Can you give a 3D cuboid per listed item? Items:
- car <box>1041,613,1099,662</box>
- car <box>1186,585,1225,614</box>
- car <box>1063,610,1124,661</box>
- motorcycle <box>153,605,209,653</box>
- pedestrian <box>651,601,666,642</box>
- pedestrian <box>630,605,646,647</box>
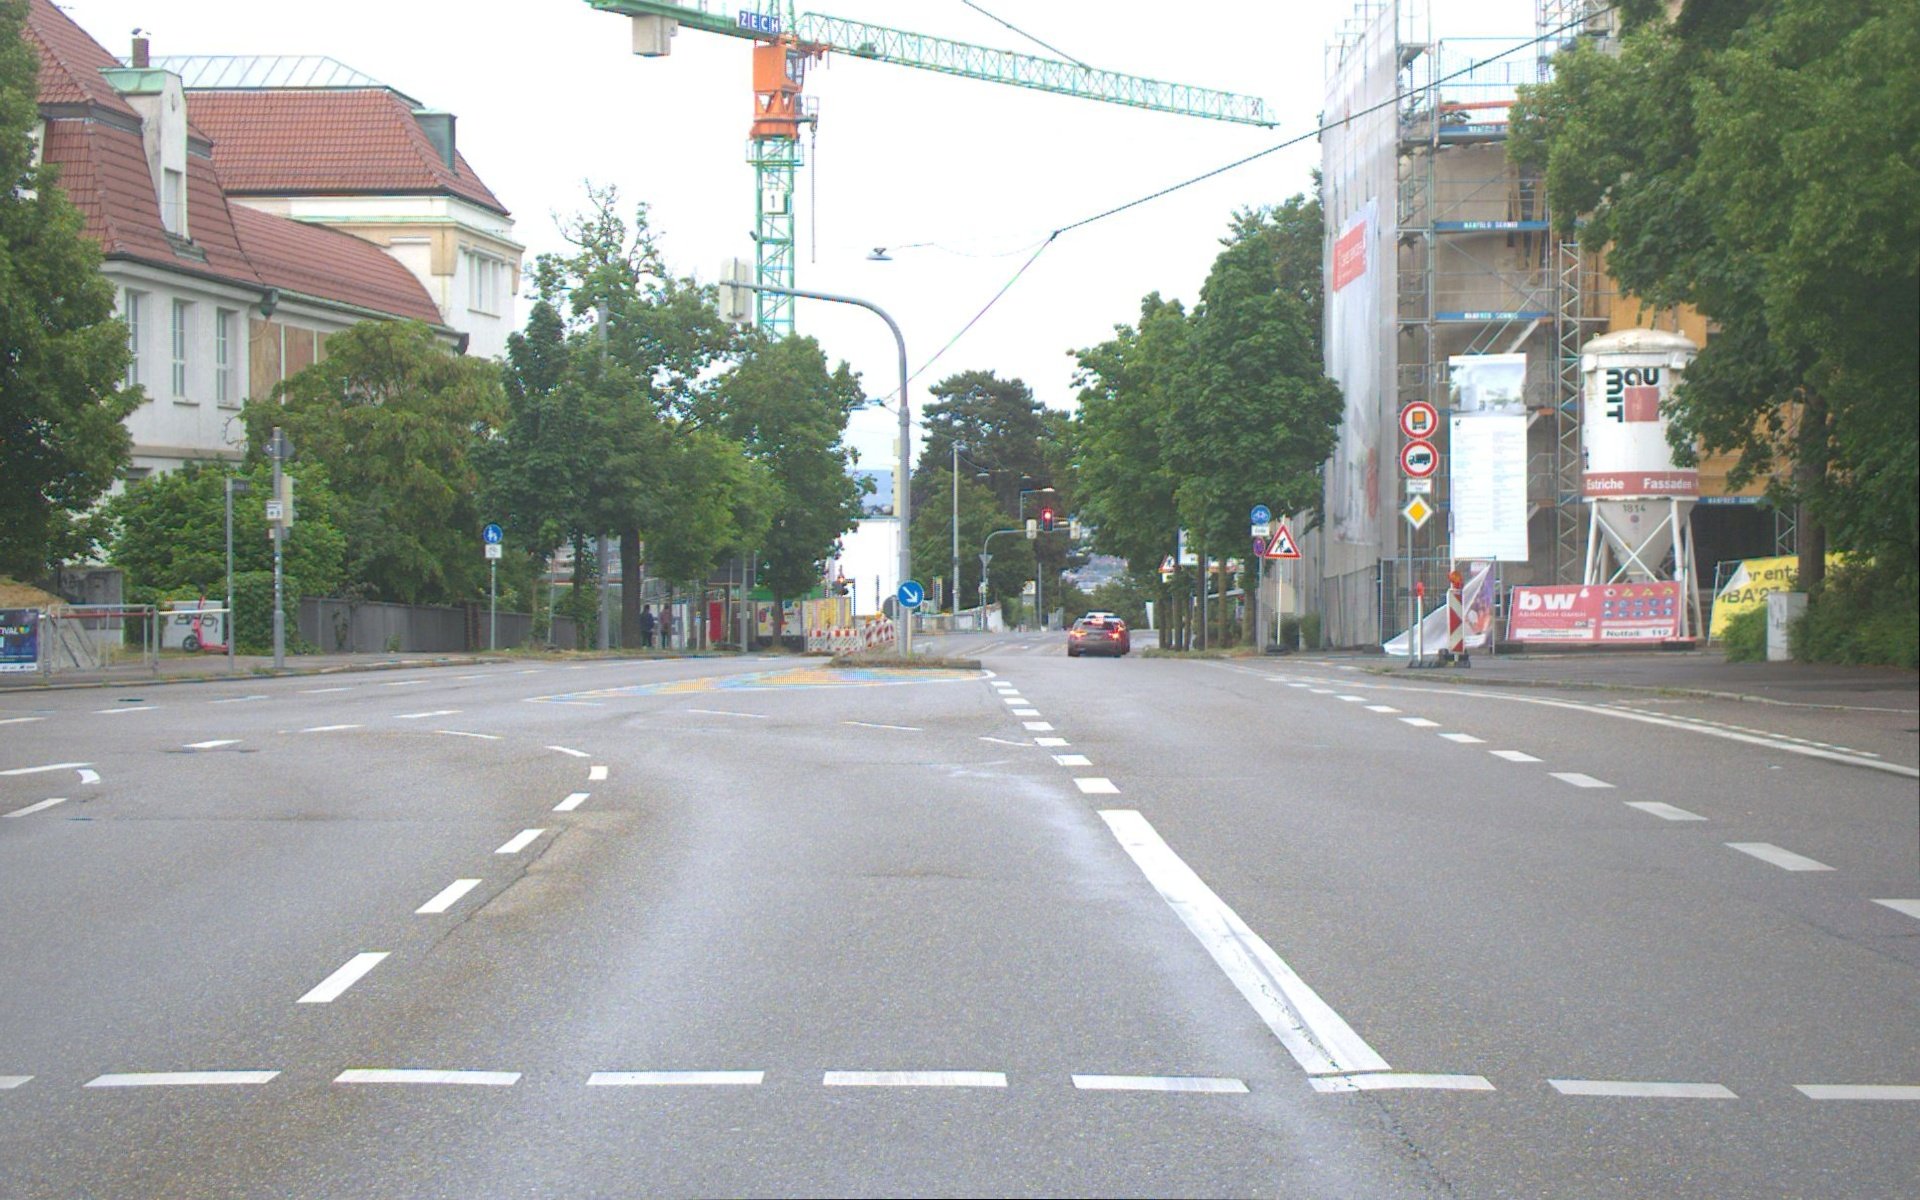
[{"bbox_3d":[4.207,1.434,132.007,1.993,1.744,4.000,-1,1,-1],"label":"car"},{"bbox_3d":[15.668,-0.028,219.348,1.994,1.744,3.998,-1,1,11],"label":"car"},{"bbox_3d":[4.834,1.283,124.951,1.993,1.744,4.000,-1,1,-1],"label":"car"},{"bbox_3d":[-14.684,0.545,64.809,0.849,0.874,0.877,1,0,-1],"label":"motorcycle"},{"bbox_3d":[-10.298,0.727,117.383,0.474,1.392,0.411,0,1,-1],"label":"pedestrian"},{"bbox_3d":[-11.011,0.888,117.536,0.474,1.391,0.411,-1,1,-1],"label":"pedestrian"}]
